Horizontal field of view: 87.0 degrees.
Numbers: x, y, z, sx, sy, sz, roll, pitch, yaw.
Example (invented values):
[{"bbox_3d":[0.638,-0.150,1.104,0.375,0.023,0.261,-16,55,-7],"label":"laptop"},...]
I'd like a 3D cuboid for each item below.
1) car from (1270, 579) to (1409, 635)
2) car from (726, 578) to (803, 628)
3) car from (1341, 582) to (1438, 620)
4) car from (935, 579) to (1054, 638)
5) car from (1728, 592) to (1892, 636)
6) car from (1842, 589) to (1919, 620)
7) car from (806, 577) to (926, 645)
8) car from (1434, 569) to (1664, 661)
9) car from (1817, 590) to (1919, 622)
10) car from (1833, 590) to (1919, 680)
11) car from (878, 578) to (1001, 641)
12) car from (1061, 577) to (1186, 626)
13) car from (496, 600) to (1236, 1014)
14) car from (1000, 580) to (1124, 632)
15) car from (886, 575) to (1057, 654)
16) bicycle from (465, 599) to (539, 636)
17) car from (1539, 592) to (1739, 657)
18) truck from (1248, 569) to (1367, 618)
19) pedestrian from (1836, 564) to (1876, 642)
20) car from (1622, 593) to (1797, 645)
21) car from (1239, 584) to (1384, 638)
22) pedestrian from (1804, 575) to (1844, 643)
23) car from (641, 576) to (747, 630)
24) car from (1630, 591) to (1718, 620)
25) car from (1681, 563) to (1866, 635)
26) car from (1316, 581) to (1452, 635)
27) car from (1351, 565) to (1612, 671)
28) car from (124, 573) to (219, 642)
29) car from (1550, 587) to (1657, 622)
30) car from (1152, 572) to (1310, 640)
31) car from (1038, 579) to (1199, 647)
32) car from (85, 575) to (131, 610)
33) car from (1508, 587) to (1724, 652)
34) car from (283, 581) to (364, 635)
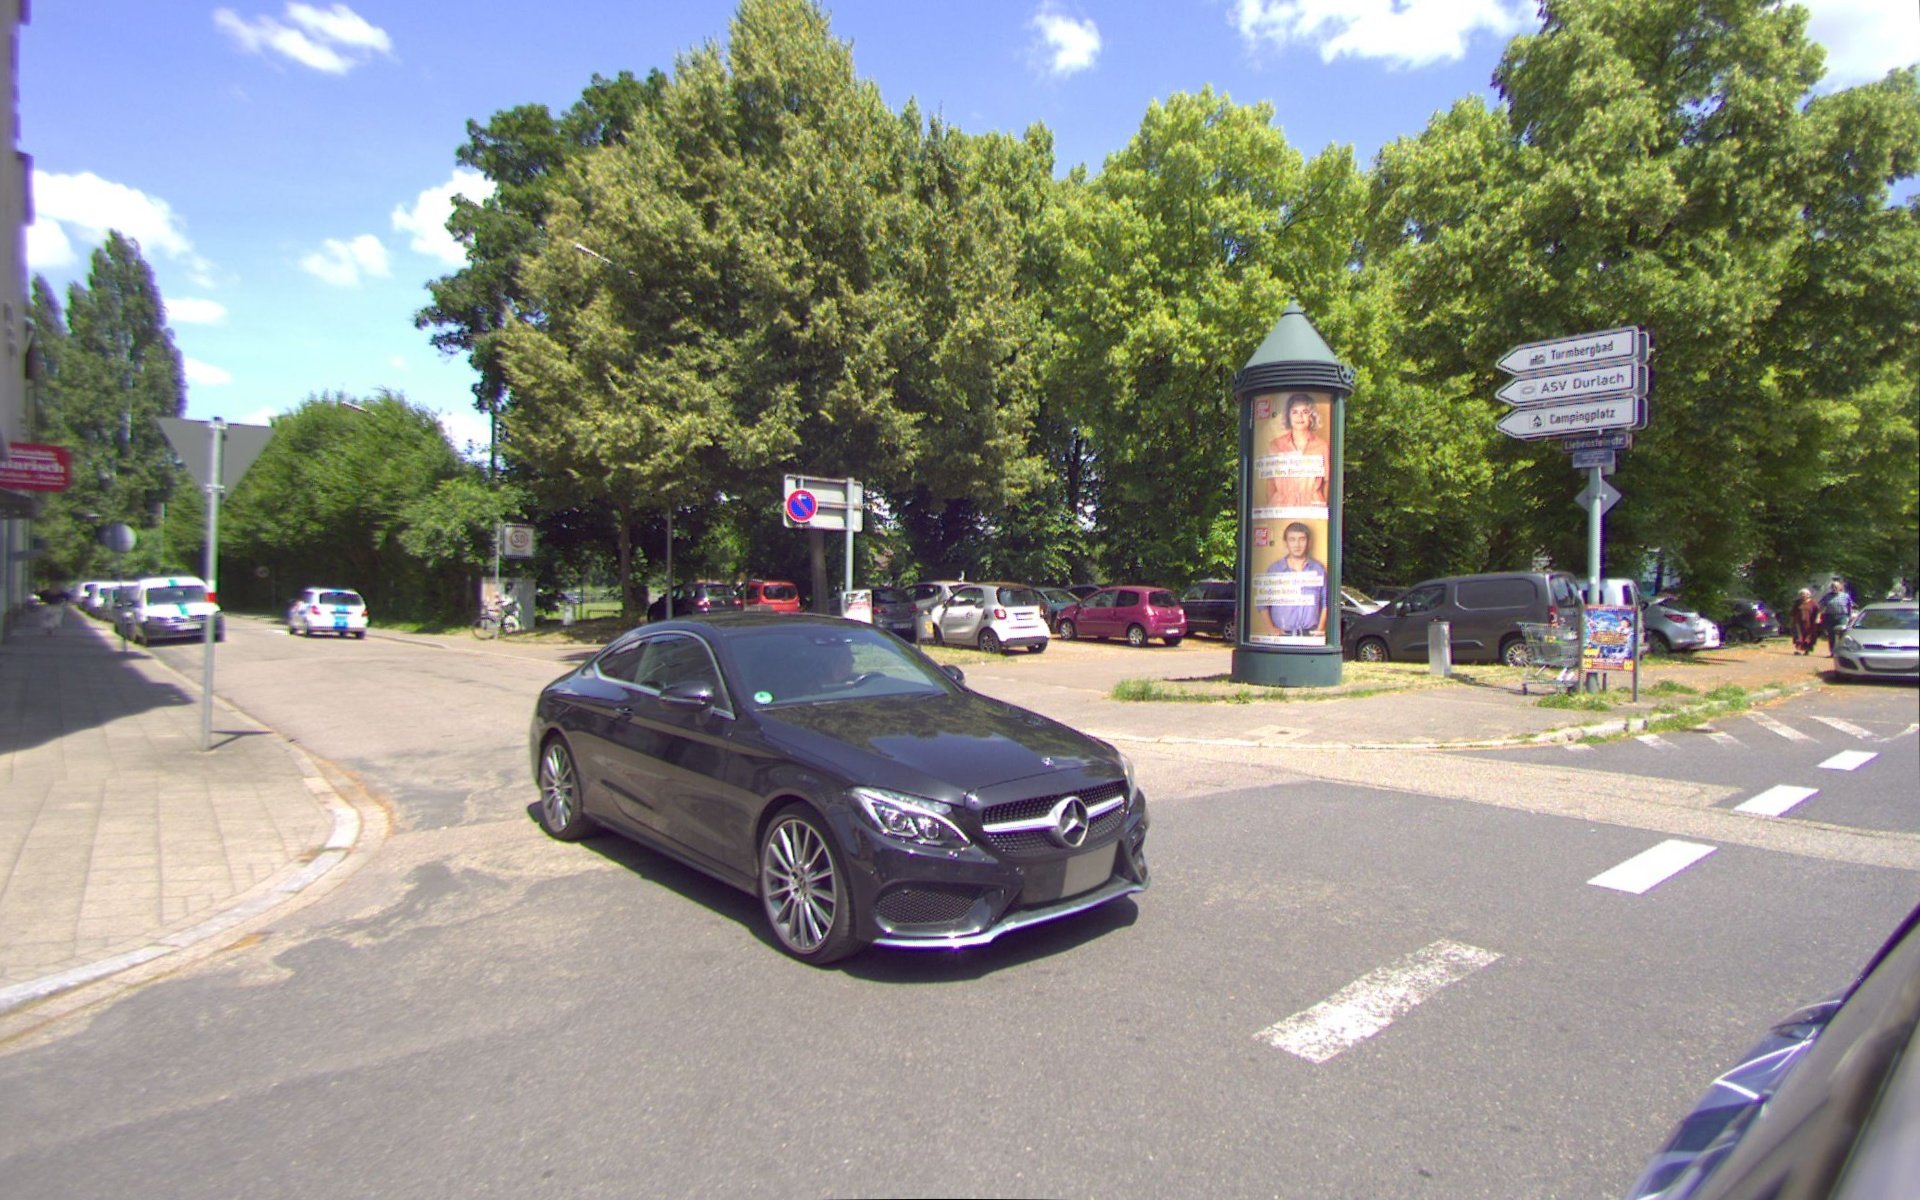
[{"bbox_3d":[12.539,0.176,33.605,1.652,1.661,3.994,0,2,-41],"label":"car"},{"bbox_3d":[-6.983,0.055,35.916,1.683,1.688,3.808,-1,1,-28],"label":"car"},{"bbox_3d":[19.973,0.037,47.166,1.706,1.607,3.809,0,2,-37],"label":"car"},{"bbox_3d":[0.966,0.200,29.493,1.564,1.573,3.386,0,2,-41],"label":"car"},{"bbox_3d":[30.906,0.522,36.897,1.777,1.513,4.331,0,-1,-41],"label":"car"},{"bbox_3d":[49.617,0.214,53.944,1.822,1.546,3.757,0,1,-43],"label":"car"},{"bbox_3d":[-2.443,0.237,25.864,1.564,1.573,3.068,0,2,-41],"label":"car"},{"bbox_3d":[11.939,0.234,20.678,1.636,1.688,3.766,0,1,-44],"label":"car"},{"bbox_3d":[41.213,0.261,45.669,3.834,1.375,1.605,0,0,42],"label":"car"},{"bbox_3d":[17.332,0.575,18.330,3.822,1.504,1.770,0,0,-41],"label":"car"},{"bbox_3d":[-0.604,0.214,27.739,1.564,1.573,3.386,0,2,-41],"label":"car"},{"bbox_3d":[5.277,0.019,33.024,1.707,1.478,3.805,0,1,-41],"label":"car"},{"bbox_3d":[-0.933,0.711,5.858,1.965,1.382,4.588,0,0,-41],"label":"car"},{"bbox_3d":[3.065,0.194,31.197,1.657,1.486,3.913,0,-1,-35],"label":"car"},{"bbox_3d":[0.179,0.263,23.104,1.652,1.573,3.994,0,2,-41],"label":"car"},{"bbox_3d":[-13.626,0.514,30.168,1.881,0.813,0.707,-9,3,-20],"label":"bicycle"},{"bbox_3d":[17.463,0.575,26.180,1.638,1.446,3.997,0,1,-39],"label":"car"},{"bbox_3d":[13.775,-0.310,40.319,1.844,1.837,4.133,0,1,-37],"label":"truck"},{"bbox_3d":[21.132,0.067,23.864,0.724,1.786,0.618,0,0,-40],"label":"pedestrian"},{"bbox_3d":[22.927,0.572,31.080,1.686,1.492,3.996,0,-1,-38],"label":"car"},{"bbox_3d":[10.885,0.287,31.541,1.652,1.501,3.994,0,2,-41],"label":"car"},{"bbox_3d":[20.754,0.211,24.309,0.724,1.613,0.618,0,0,-40],"label":"pedestrian"},{"bbox_3d":[-9.022,0.053,34.185,1.839,1.714,3.993,0,1,-42],"label":"car"},{"bbox_3d":[40.470,0.292,57.432,1.709,1.483,3.802,0,2,-43],"label":"car"},{"bbox_3d":[27.798,0.001,34.722,2.068,2.305,4.612,0,-1,-39],"label":"car"},{"bbox_3d":[14.614,0.235,35.063,1.771,1.682,3.998,0,2,-38],"label":"car"},{"bbox_3d":[9.797,0.287,19.232,1.981,1.773,3.994,0,0,-40],"label":"car"},{"bbox_3d":[-22.088,0.166,28.295,1.601,1.756,4.374,-3,3,-44],"label":"car"},{"bbox_3d":[32.453,0.203,51.109,4.253,1.607,1.790,3,2,44],"label":"car"},{"bbox_3d":[7.492,0.114,28.263,1.673,1.699,3.992,0,2,-43],"label":"car"},{"bbox_3d":[4.058,0.281,26.359,1.652,1.547,3.994,0,2,-41],"label":"car"},{"bbox_3d":[-42.126,-0.387,50.031,1.556,1.682,3.720,0,1,-43],"label":"car"},{"bbox_3d":[15.472,0.421,24.031,1.777,1.416,3.993,0,0,-41],"label":"car"},{"bbox_3d":[-20.077,0.224,31.862,1.543,1.574,3.993,0,0,-42],"label":"car"}]
